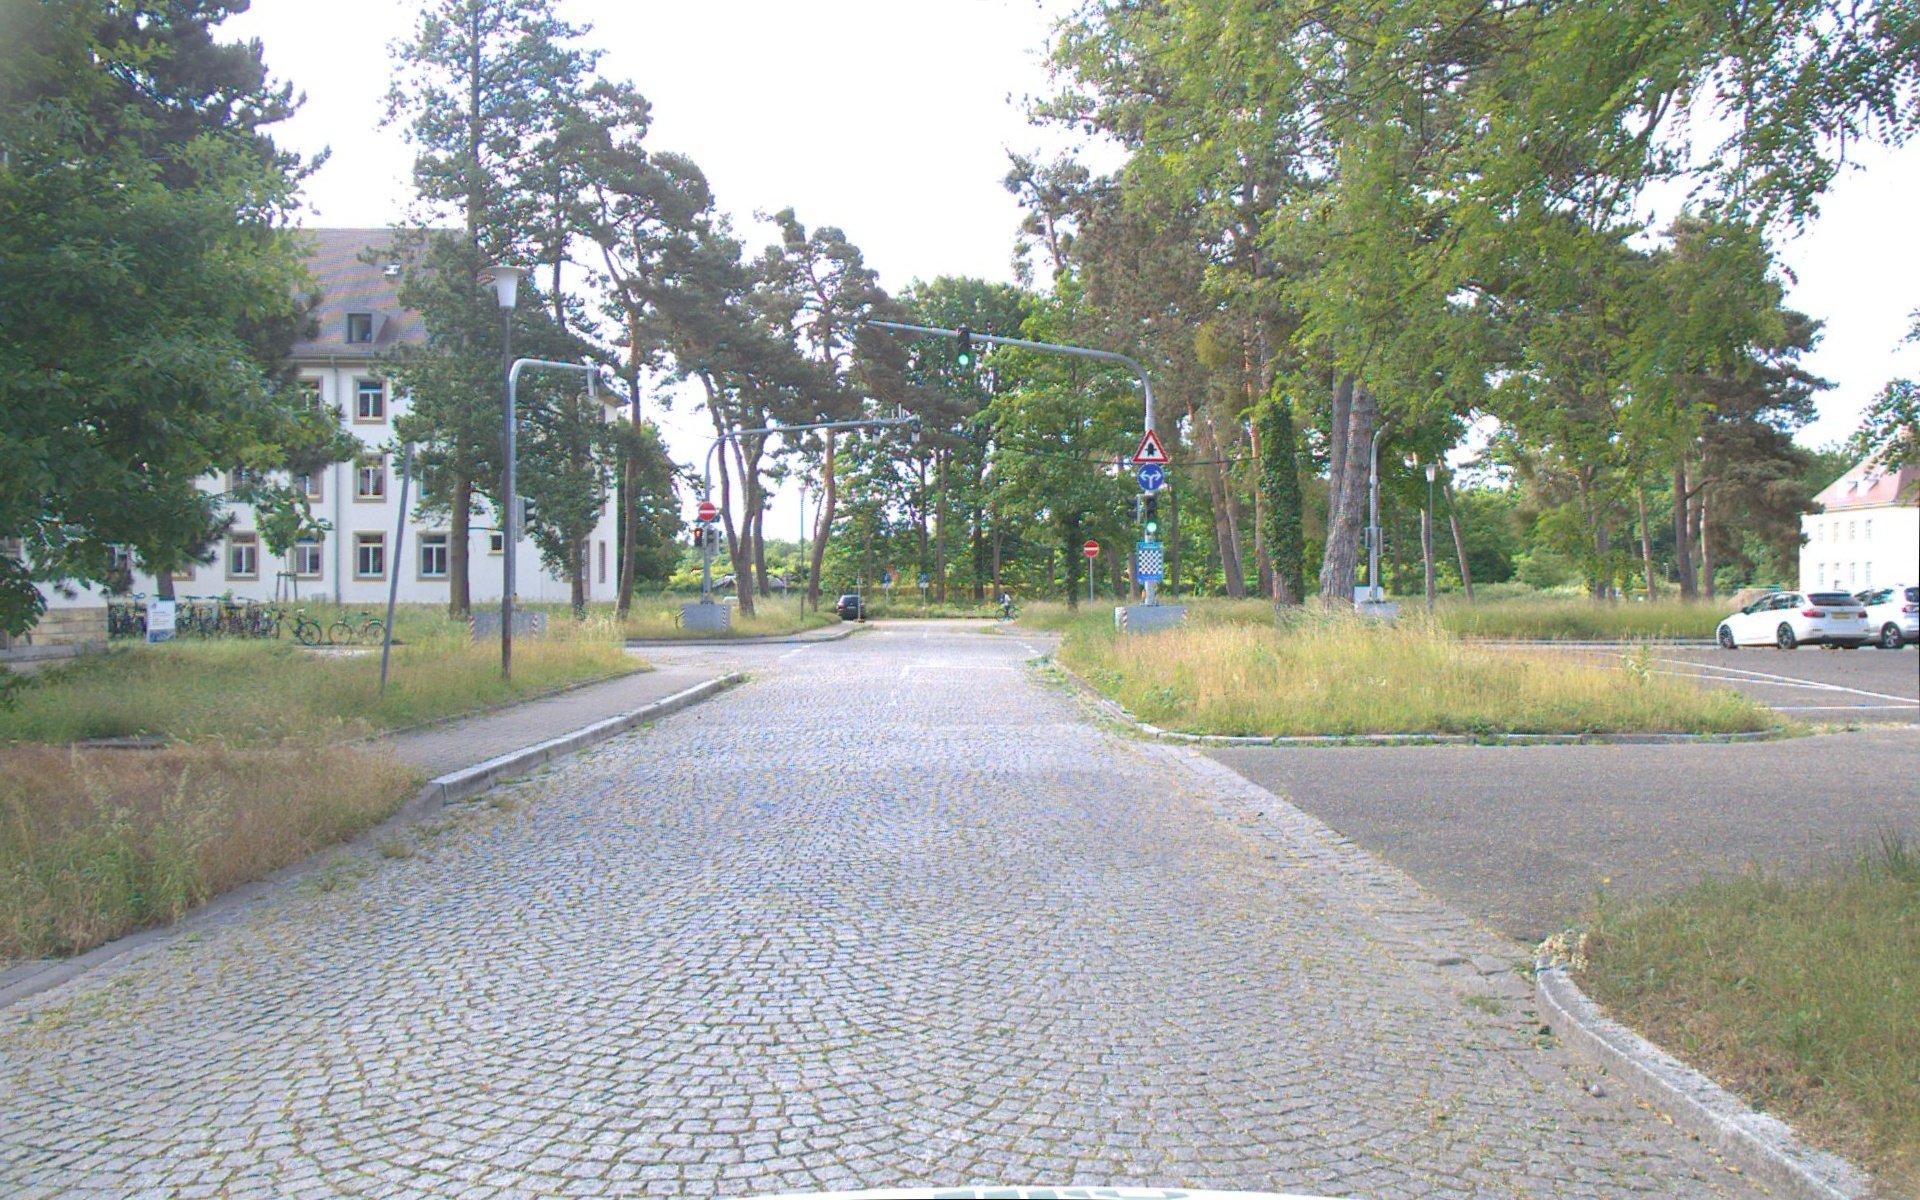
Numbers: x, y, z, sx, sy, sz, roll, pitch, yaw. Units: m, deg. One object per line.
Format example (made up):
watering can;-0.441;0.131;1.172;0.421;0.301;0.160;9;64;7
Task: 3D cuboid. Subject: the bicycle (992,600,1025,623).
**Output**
bicycle;2.898;0.702;99.727;1.943;1.343;0.514;1;-1;-24

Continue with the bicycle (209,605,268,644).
bicycle;-20.796;0.696;47.744;0.721;1.095;2.273;0;0;0

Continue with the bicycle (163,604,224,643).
bicycle;-22.319;0.681;48.183;0.721;1.095;2.273;0;0;0

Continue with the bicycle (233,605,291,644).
bicycle;-20.168;0.688;47.835;0.721;1.095;2.273;0;0;0

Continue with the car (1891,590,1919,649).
car;25.804;0.477;41.675;1.954;1.507;4.421;0;-1;-4

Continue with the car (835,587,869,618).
car;-6.781;0.153;104.182;2.014;1.878;3.999;0;0;-2

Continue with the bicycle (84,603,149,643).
bicycle;-24.363;0.647;47.804;0.721;1.095;2.273;0;0;0

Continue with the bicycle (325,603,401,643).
bicycle;-16.841;0.652;46.679;1.818;1.095;0.831;0;0;1

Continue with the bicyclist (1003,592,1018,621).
bicyclist;3.026;0.390;99.766;0.739;1.700;0.522;1;-1;-25

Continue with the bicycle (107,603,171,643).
bicycle;-23.665;0.655;47.739;0.721;1.095;2.273;0;0;0

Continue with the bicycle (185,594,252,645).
bicycle;-21.531;0.546;48.087;0.721;1.410;2.711;0;0;0

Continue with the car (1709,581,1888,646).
car;20.729;0.360;41.116;1.954;1.507;4.421;0;-1;-4

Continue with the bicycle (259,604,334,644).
bicycle;-18.692;0.679;46.609;1.818;1.095;0.738;0;0;1

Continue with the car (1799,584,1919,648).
car;23.193;0.417;41.338;1.954;1.507;4.421;0;-1;-4

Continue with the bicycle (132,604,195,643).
bicycle;-22.946;0.657;47.679;0.721;1.095;2.273;0;0;0
